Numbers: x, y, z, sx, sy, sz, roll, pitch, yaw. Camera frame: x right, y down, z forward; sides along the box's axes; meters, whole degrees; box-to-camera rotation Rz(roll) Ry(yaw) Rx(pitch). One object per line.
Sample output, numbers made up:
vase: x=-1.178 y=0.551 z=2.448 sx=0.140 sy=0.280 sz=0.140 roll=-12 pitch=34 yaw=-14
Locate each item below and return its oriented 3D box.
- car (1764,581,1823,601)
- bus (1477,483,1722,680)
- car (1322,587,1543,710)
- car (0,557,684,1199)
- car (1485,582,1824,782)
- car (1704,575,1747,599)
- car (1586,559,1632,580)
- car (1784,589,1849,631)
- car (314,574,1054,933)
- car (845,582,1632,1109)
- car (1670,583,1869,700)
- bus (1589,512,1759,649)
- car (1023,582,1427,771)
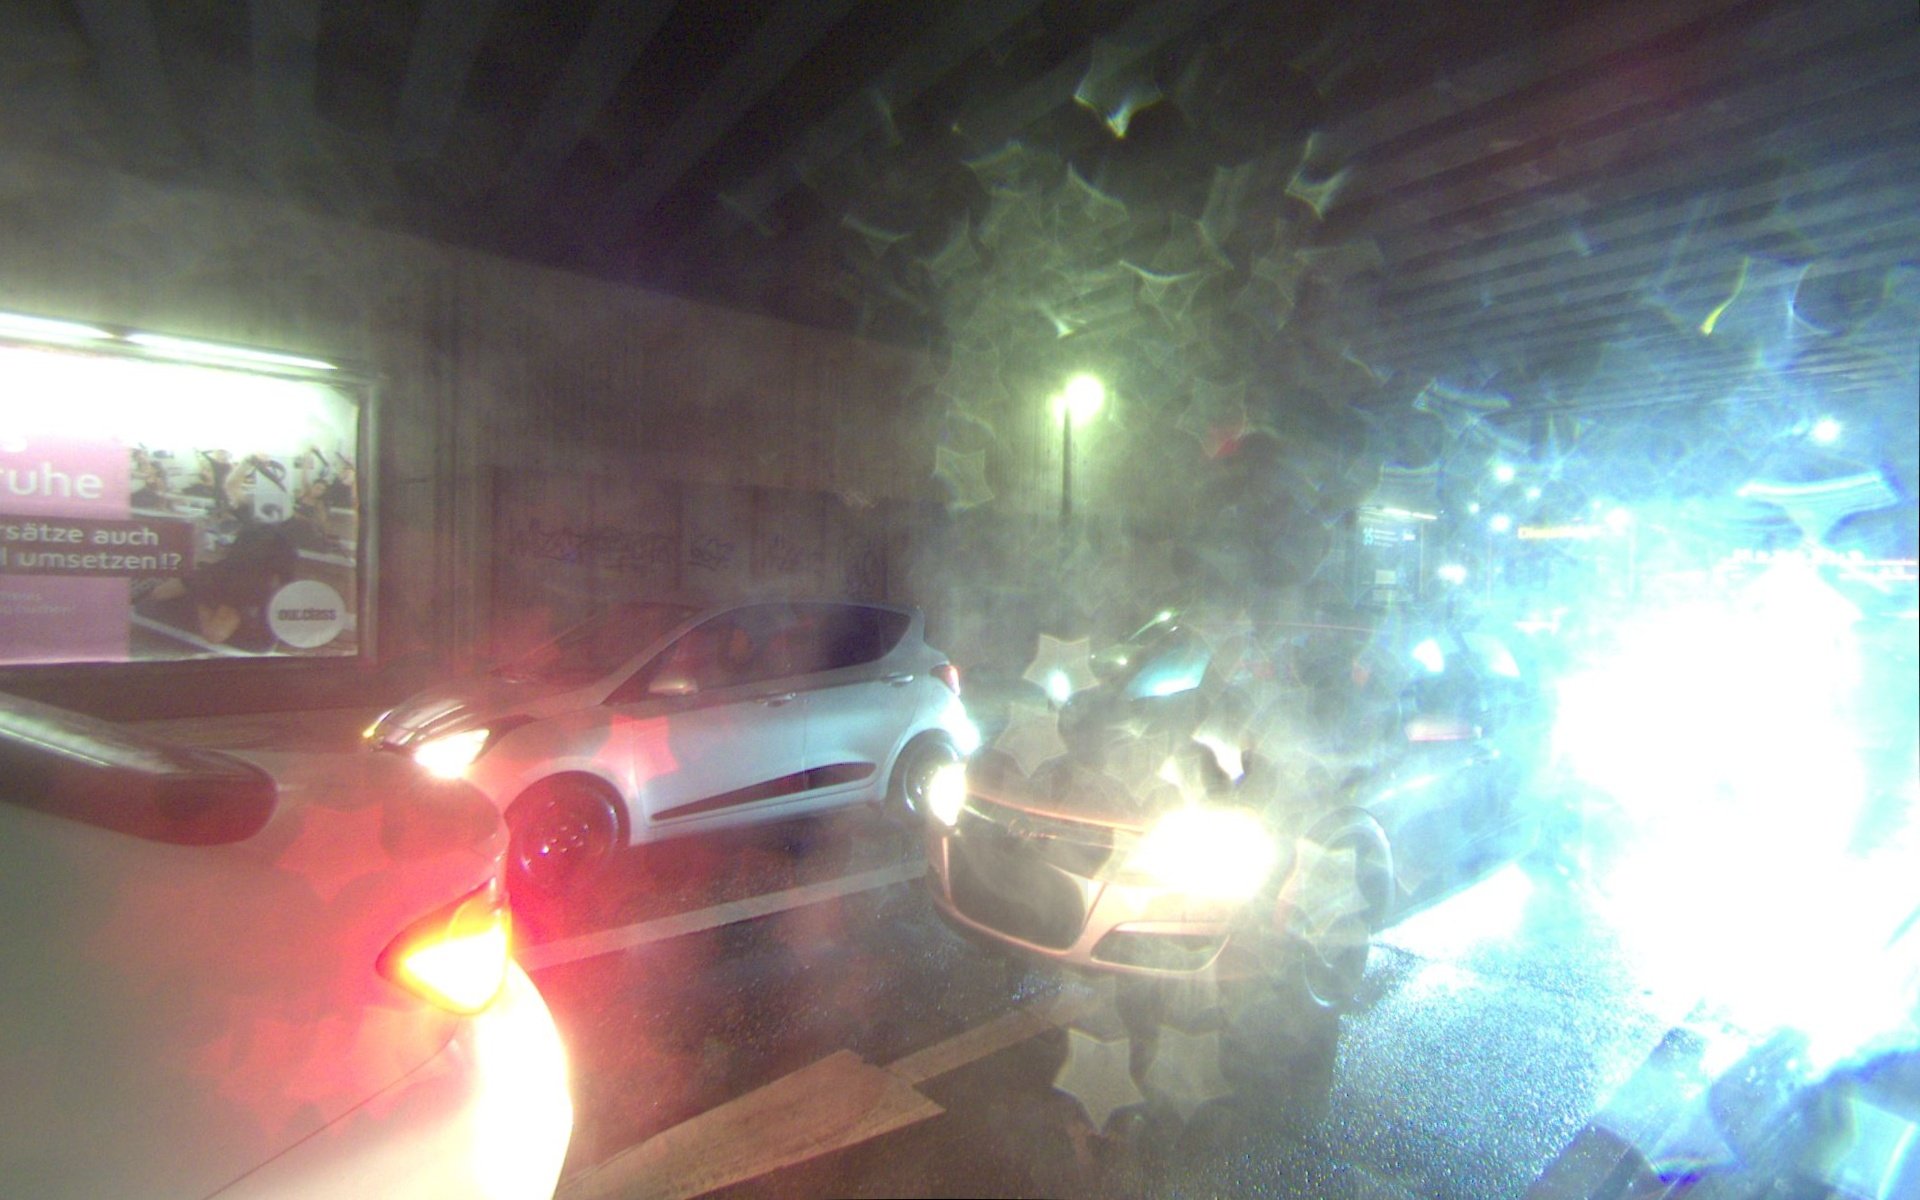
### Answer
car: x=64.279 y=-0.731 z=78.117 sx=1.804 sy=1.482 sz=4.406 roll=0 pitch=1 yaw=15
bus: x=13.940 y=-0.401 z=21.569 sx=2.733 sy=3.318 sz=9.551 roll=1 pitch=1 yaw=43
car: x=7.174 y=0.604 z=15.168 sx=1.721 sy=1.505 sz=4.096 roll=3 pitch=3 yaw=44
car: x=-2.667 y=0.681 z=1.018 sx=4.308 sy=1.464 sz=1.723 roll=-1 pitch=3 yaw=-42
car: x=6.749 y=0.623 z=9.662 sx=4.091 sy=1.506 sz=1.722 roll=-1 pitch=-2 yaw=-42
car: x=51.269 y=-0.873 z=67.840 sx=1.711 sy=1.505 sz=4.120 roll=2 pitch=3 yaw=29
car: x=46.363 y=-2.153 z=72.363 sx=1.685 sy=1.407 sz=3.979 roll=0 pitch=1 yaw=17
car: x=34.592 y=0.363 z=40.961 sx=1.716 sy=1.505 sz=4.106 roll=3 pitch=3 yaw=37
car: x=-1.450 y=0.610 z=6.262 sx=4.091 sy=1.464 sz=1.723 roll=-1 pitch=3 yaw=-42
car: x=1.616 y=0.657 z=4.855 sx=4.091 sy=1.464 sz=1.723 roll=-1 pitch=1 yaw=-42
car: x=12.220 y=0.509 z=15.202 sx=3.906 sy=1.481 sz=1.696 roll=-1 pitch=3 yaw=-42
bus: x=20.408 y=-0.552 z=28.620 sx=2.733 sy=3.278 sz=9.551 roll=1 pitch=1 yaw=43
car: x=2.906 y=0.582 z=10.406 sx=4.705 sy=1.505 sz=1.723 roll=-1 pitch=2 yaw=-42
